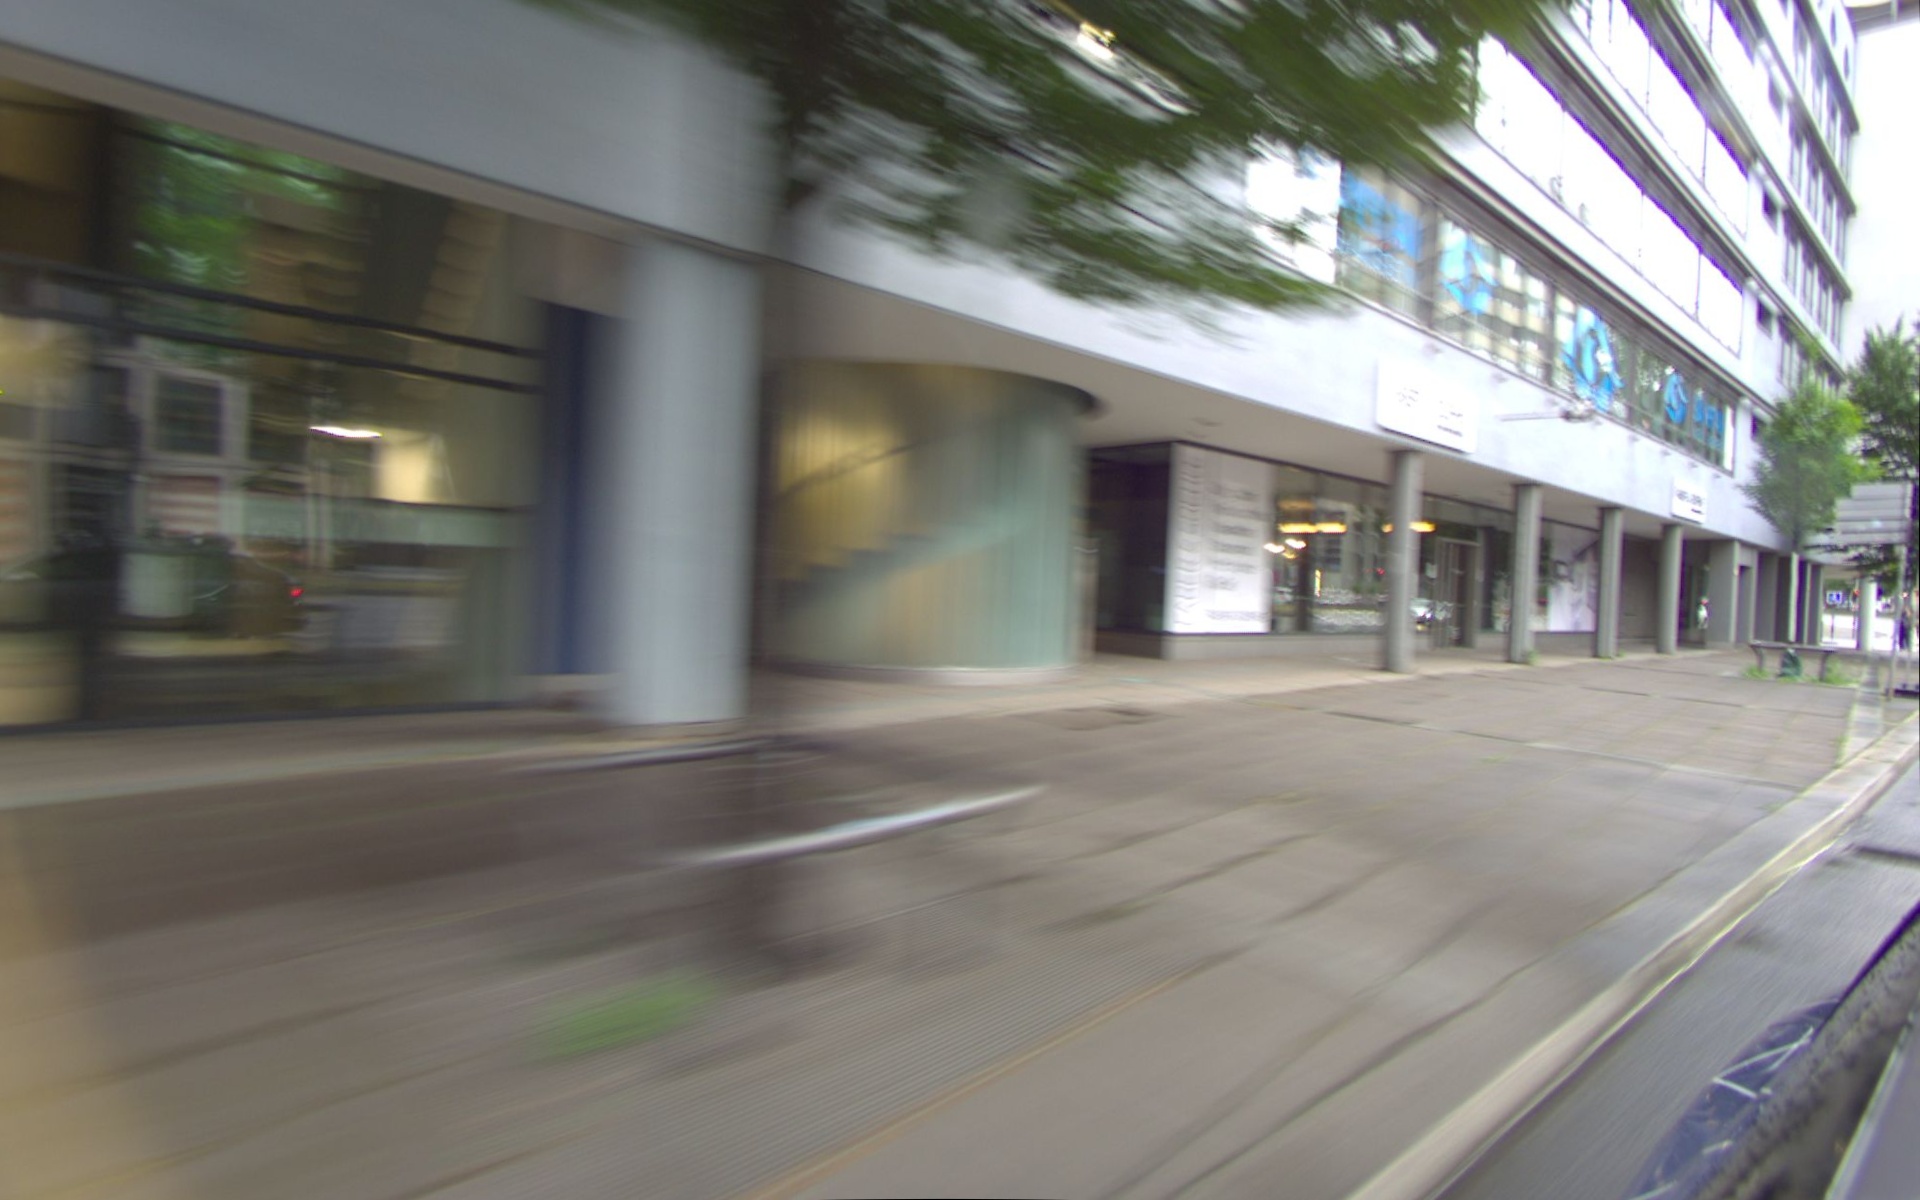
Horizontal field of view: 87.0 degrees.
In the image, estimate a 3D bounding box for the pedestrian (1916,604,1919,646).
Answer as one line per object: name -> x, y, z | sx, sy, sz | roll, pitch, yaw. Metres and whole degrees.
pedestrian -> 41.628, 1.070, 43.461 | 0.880, 1.805, 0.792 | 1, -1, -44
